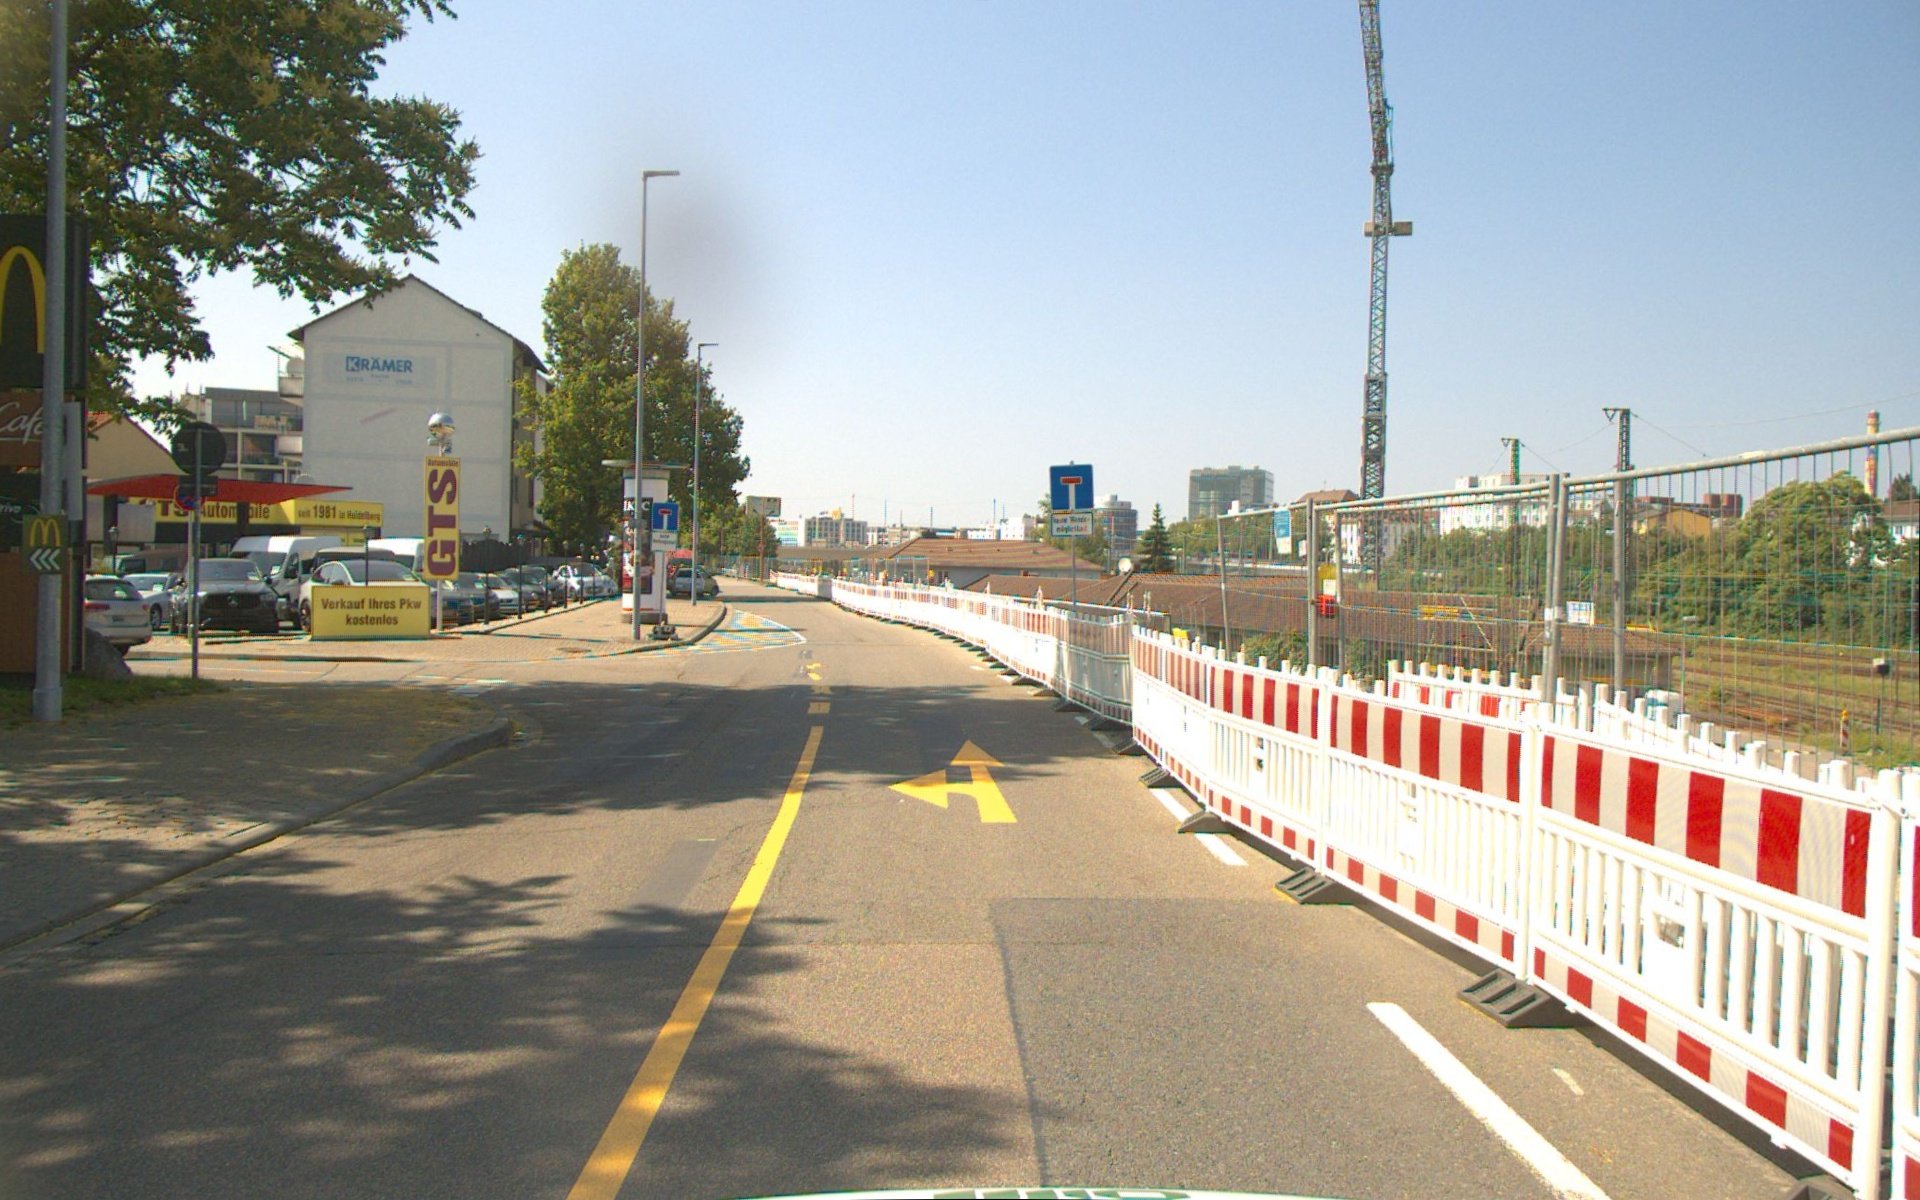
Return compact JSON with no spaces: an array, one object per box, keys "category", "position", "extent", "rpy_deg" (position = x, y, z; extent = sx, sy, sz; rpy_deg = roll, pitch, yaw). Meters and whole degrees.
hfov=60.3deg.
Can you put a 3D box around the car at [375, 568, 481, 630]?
[{"category":"car","position":[-14.139,-0.042,43.822],"extent":[1.818,1.498,3.958],"rpy_deg":[-3,2,-31]}]

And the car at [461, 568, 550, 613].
[{"category":"car","position":[-16.206,-0.367,58.858],"extent":[1.656,1.498,3.946],"rpy_deg":[-3,2,-38]}]

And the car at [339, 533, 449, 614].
[{"category":"car","position":[-19.042,-0.851,55.908],"extent":[2.203,2.472,5.710],"rpy_deg":[4,0,-7]}]

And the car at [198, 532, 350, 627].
[{"category":"car","position":[-21.358,-0.623,51.857],"extent":[2.230,2.806,6.152],"rpy_deg":[0,0,0]}]

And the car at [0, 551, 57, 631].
[{"category":"car","position":[-21.451,-0.227,37.114],"extent":[1.788,1.685,4.267],"rpy_deg":[-1,1,-32]}]

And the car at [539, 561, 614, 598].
[{"category":"car","position":[-16.598,-0.889,71.463],"extent":[1.762,1.498,3.950],"rpy_deg":[-3,2,-35]}]

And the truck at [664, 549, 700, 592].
[{"category":"truck","position":[-17.868,-1.856,106.431],"extent":[2.197,2.694,5.669],"rpy_deg":[1,0,-9]}]

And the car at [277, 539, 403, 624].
[{"category":"car","position":[-18.487,-0.518,49.587],"extent":[2.201,2.391,4.820],"rpy_deg":[0,0,-3]}]

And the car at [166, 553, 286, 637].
[{"category":"car","position":[-16.344,-0.093,36.727],"extent":[2.021,1.737,4.271],"rpy_deg":[-1,0,-30]}]

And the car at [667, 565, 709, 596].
[{"category":"car","position":[-14.329,-1.032,87.343],"extent":[1.832,1.524,4.028],"rpy_deg":[0,2,-5]}]

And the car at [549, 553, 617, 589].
[{"category":"car","position":[-22.393,-1.707,98.177],"extent":[3.858,1.993,1.752],"rpy_deg":[2,1,-15]}]

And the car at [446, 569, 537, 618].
[{"category":"car","position":[-15.534,-0.209,54.715],"extent":[1.764,1.498,3.954],"rpy_deg":[-3,2,-33]}]

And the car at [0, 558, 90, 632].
[{"category":"car","position":[-25.191,-0.142,42.290],"extent":[2.127,1.874,4.858],"rpy_deg":[1,1,44]}]

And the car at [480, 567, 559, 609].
[{"category":"car","position":[-16.868,-0.466,63.249],"extent":[1.654,1.498,3.950],"rpy_deg":[-3,2,-35]}]

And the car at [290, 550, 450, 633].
[{"category":"car","position":[-13.958,-0.176,38.980],"extent":[1.965,1.736,4.592],"rpy_deg":[-2,-1,-42]}]

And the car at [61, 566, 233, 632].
[{"category":"car","position":[-21.127,-0.081,43.217],"extent":[1.868,1.602,4.690],"rpy_deg":[1,1,5]}]

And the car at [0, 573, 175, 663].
[{"category":"car","position":[-16.521,0.292,29.464],"extent":[4.493,1.519,1.684],"rpy_deg":[0,1,13]}]

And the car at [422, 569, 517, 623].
[{"category":"car","position":[-14.676,-0.144,49.349],"extent":[1.817,1.498,3.959],"rpy_deg":[-3,2,-30]}]

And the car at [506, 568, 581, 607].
[{"category":"car","position":[-17.116,-0.536,67.855],"extent":[1.654,1.498,3.950],"rpy_deg":[-3,2,-35]}]
